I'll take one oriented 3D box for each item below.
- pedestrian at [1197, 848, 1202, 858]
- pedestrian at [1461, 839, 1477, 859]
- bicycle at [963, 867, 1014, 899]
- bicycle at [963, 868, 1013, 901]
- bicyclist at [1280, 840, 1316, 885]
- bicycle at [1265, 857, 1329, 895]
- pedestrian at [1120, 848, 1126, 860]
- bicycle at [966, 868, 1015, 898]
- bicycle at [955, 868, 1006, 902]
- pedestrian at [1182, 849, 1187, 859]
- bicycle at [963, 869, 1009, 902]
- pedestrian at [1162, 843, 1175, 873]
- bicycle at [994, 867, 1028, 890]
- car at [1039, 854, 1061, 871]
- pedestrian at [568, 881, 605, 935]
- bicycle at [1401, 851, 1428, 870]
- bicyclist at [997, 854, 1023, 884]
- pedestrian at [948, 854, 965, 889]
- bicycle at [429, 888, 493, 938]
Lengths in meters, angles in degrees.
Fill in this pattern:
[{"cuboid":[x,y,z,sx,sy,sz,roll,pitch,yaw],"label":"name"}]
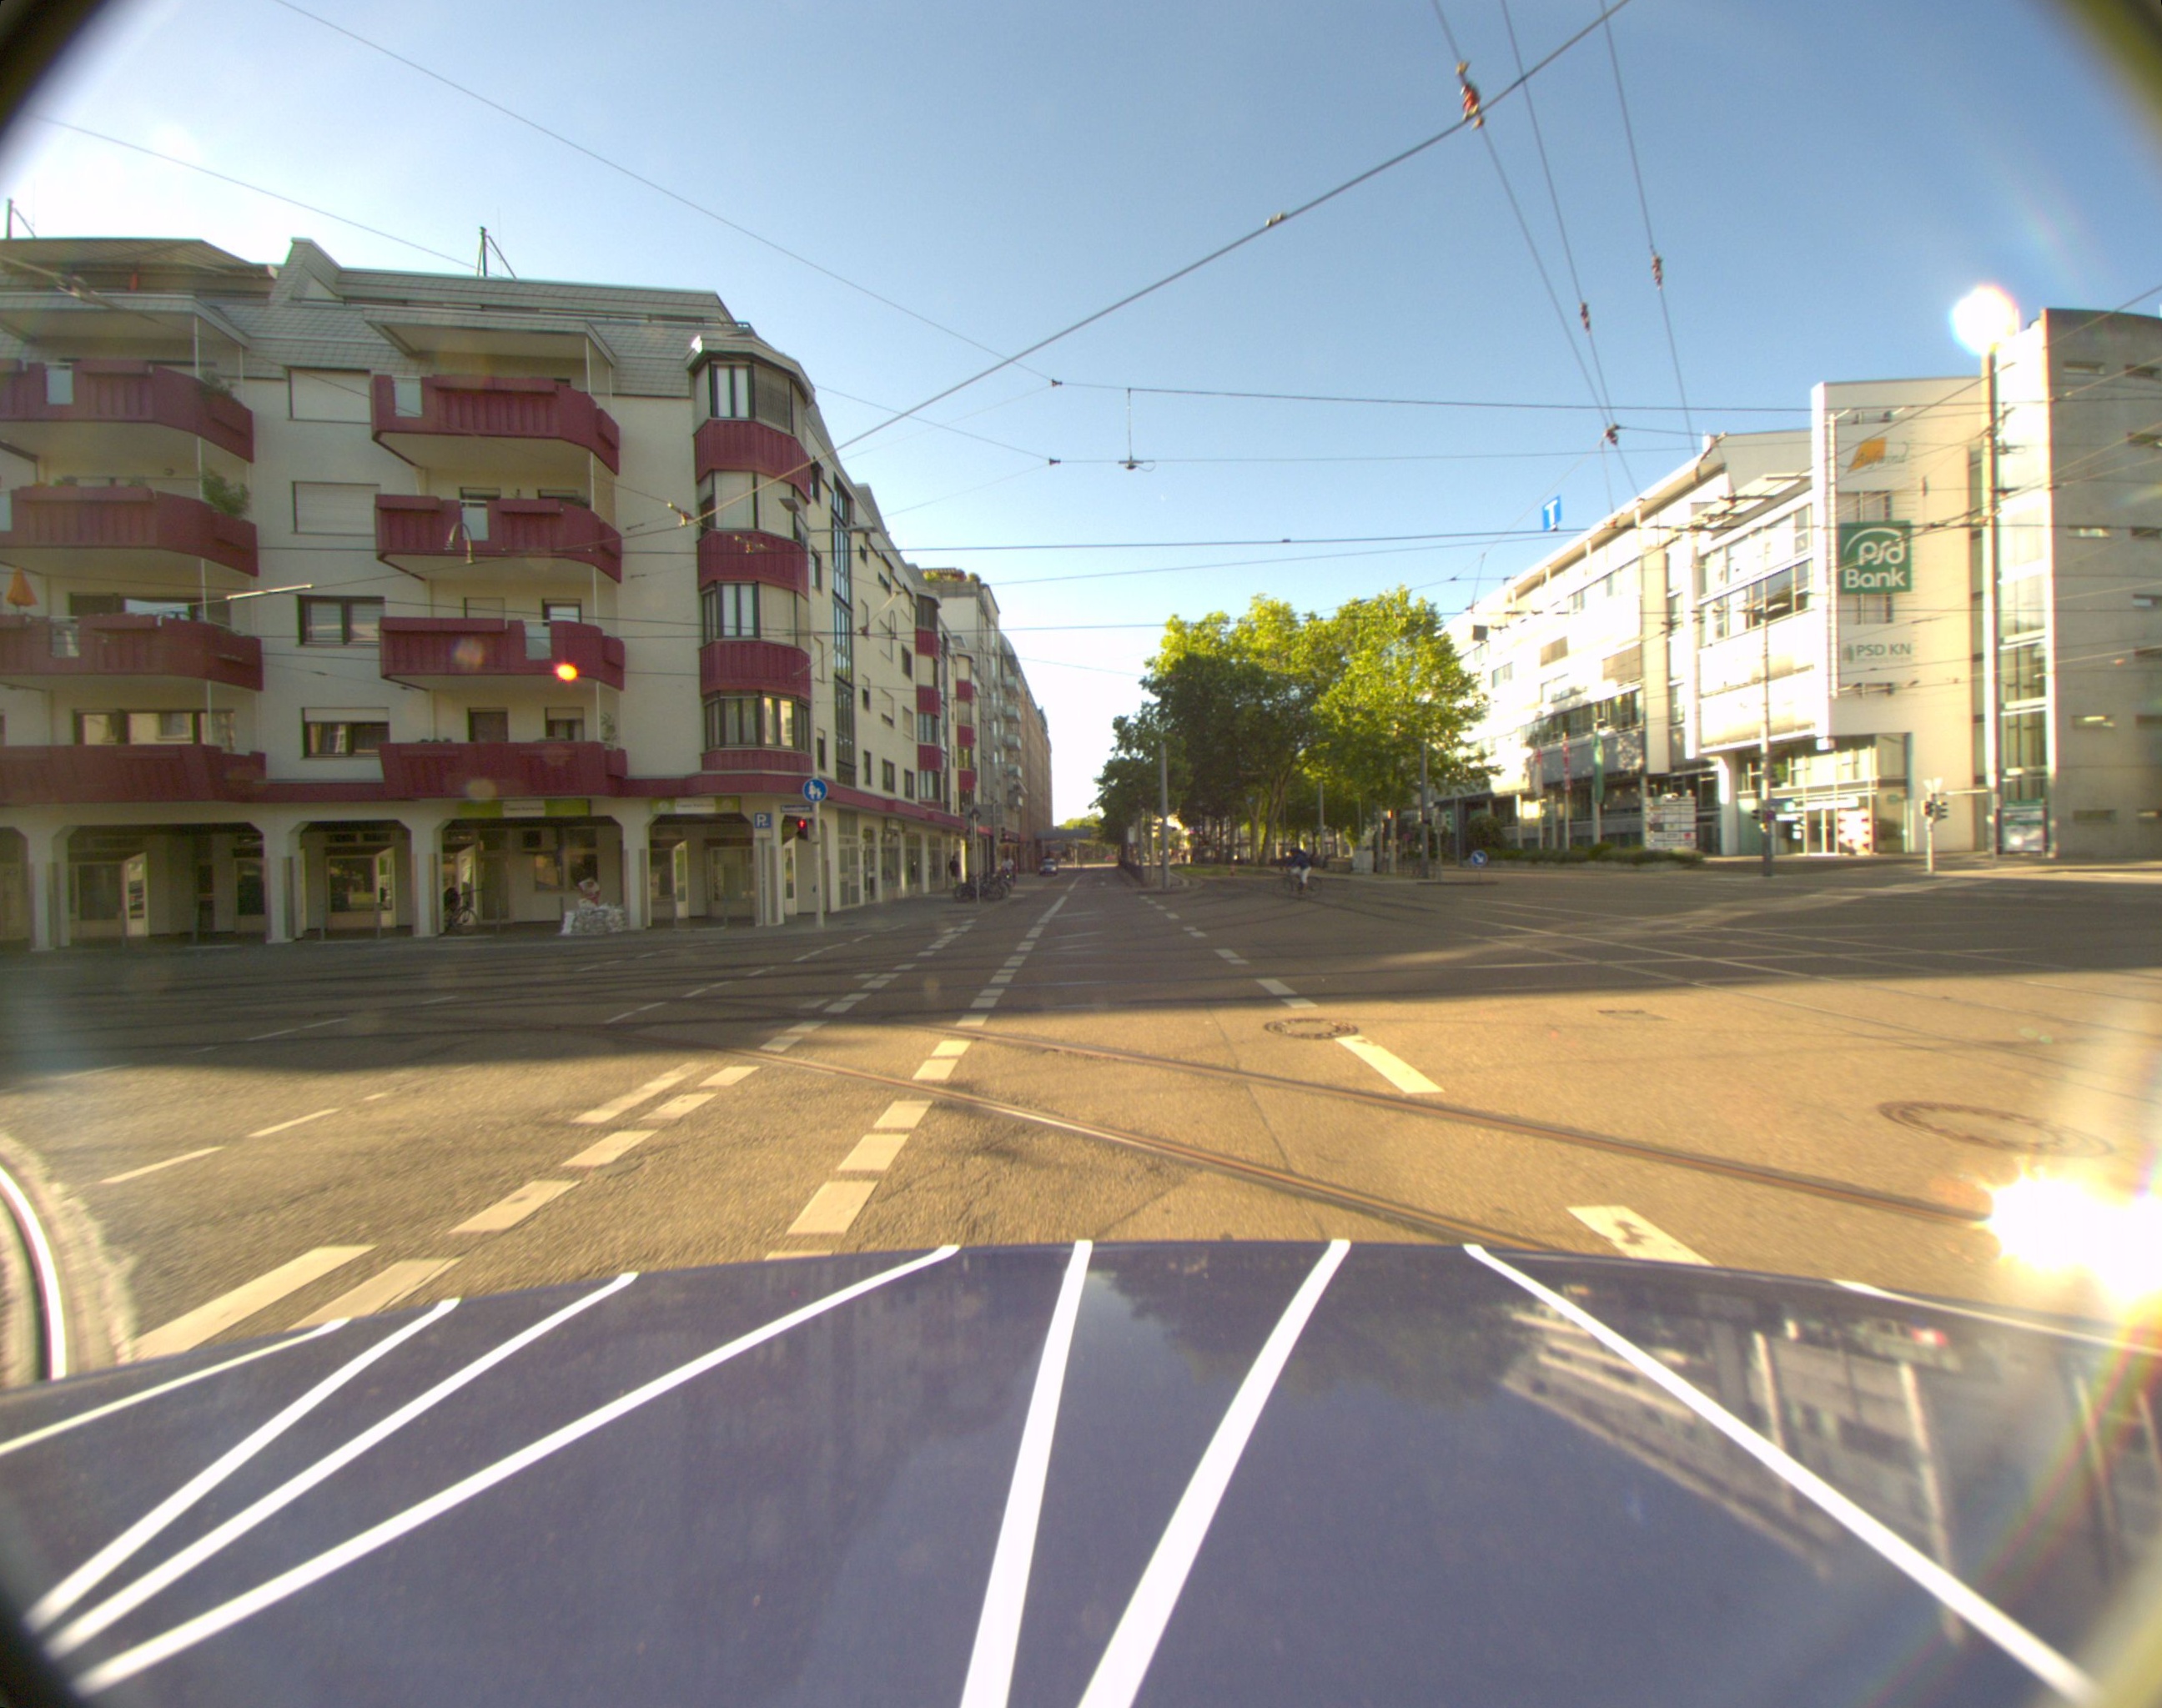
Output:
[{"cuboid":[18.564,-0.176,119.168,0.554,1.488,0.551,-2,0,-9],"label":"pedestrian"},{"cuboid":[32.080,-0.403,62.821,0.908,1.583,0.767,-2,0,1],"label":"pedestrian"},{"cuboid":[-3.749,1.173,30.862,1.982,1.192,0.591,-2,0,-3],"label":"bicycle"},{"cuboid":[-3.663,1.201,29.979,1.835,1.213,0.496,-2,0,5],"label":"bicycle"},{"cuboid":[7.380,0.294,25.887,0.882,1.485,0.722,-2,0,-15],"label":"bicyclist"},{"cuboid":[7.373,0.738,25.885,2.044,1.182,0.590,-2,0,-15],"label":"bicycle"},{"cuboid":[6.287,0.034,113.297,0.742,1.680,0.645,-4,0,1],"label":"pedestrian"},{"cuboid":[-3.752,1.212,31.484,1.945,1.163,0.572,-2,0,-1],"label":"bicycle"},{"cuboid":[-3.778,1.174,28.663,1.805,1.193,0.546,-2,1,6],"label":"bicycle"},{"cuboid":[18.395,-0.014,134.773,0.656,1.744,0.676,-2,0,-6],"label":"pedestrian"},{"cuboid":[-3.663,1.202,29.296,1.626,1.192,0.496,-2,0,6],"label":"bicycle"},{"cuboid":[5.241,0.249,45.578,0.735,1.736,0.712,-2,0,7],"label":"pedestrian"},{"cuboid":[-3.751,1.293,40.353,0.964,1.176,2.593,-2,0,-24],"label":"bicycle"},{"cuboid":[-3.058,0.869,76.353,1.837,1.613,4.285,1,0,2],"label":"car"},{"cuboid":[-12.761,1.376,19.619,0.664,1.342,0.655,-2,0,-25],"label":"pedestrian"},{"cuboid":[17.398,0.341,39.689,0.814,0.940,1.727,-2,0,8],"label":"bicycle"},{"cuboid":[-3.768,0.808,40.335,1.061,1.531,1.077,-2,0,-25],"label":"bicyclist"},{"cuboid":[-6.647,0.910,40.604,0.724,1.847,0.801,-2,0,1],"label":"pedestrian"},{"cuboid":[-15.833,1.487,19.387,1.793,1.192,0.617,-1,1,29],"label":"bicycle"}]
